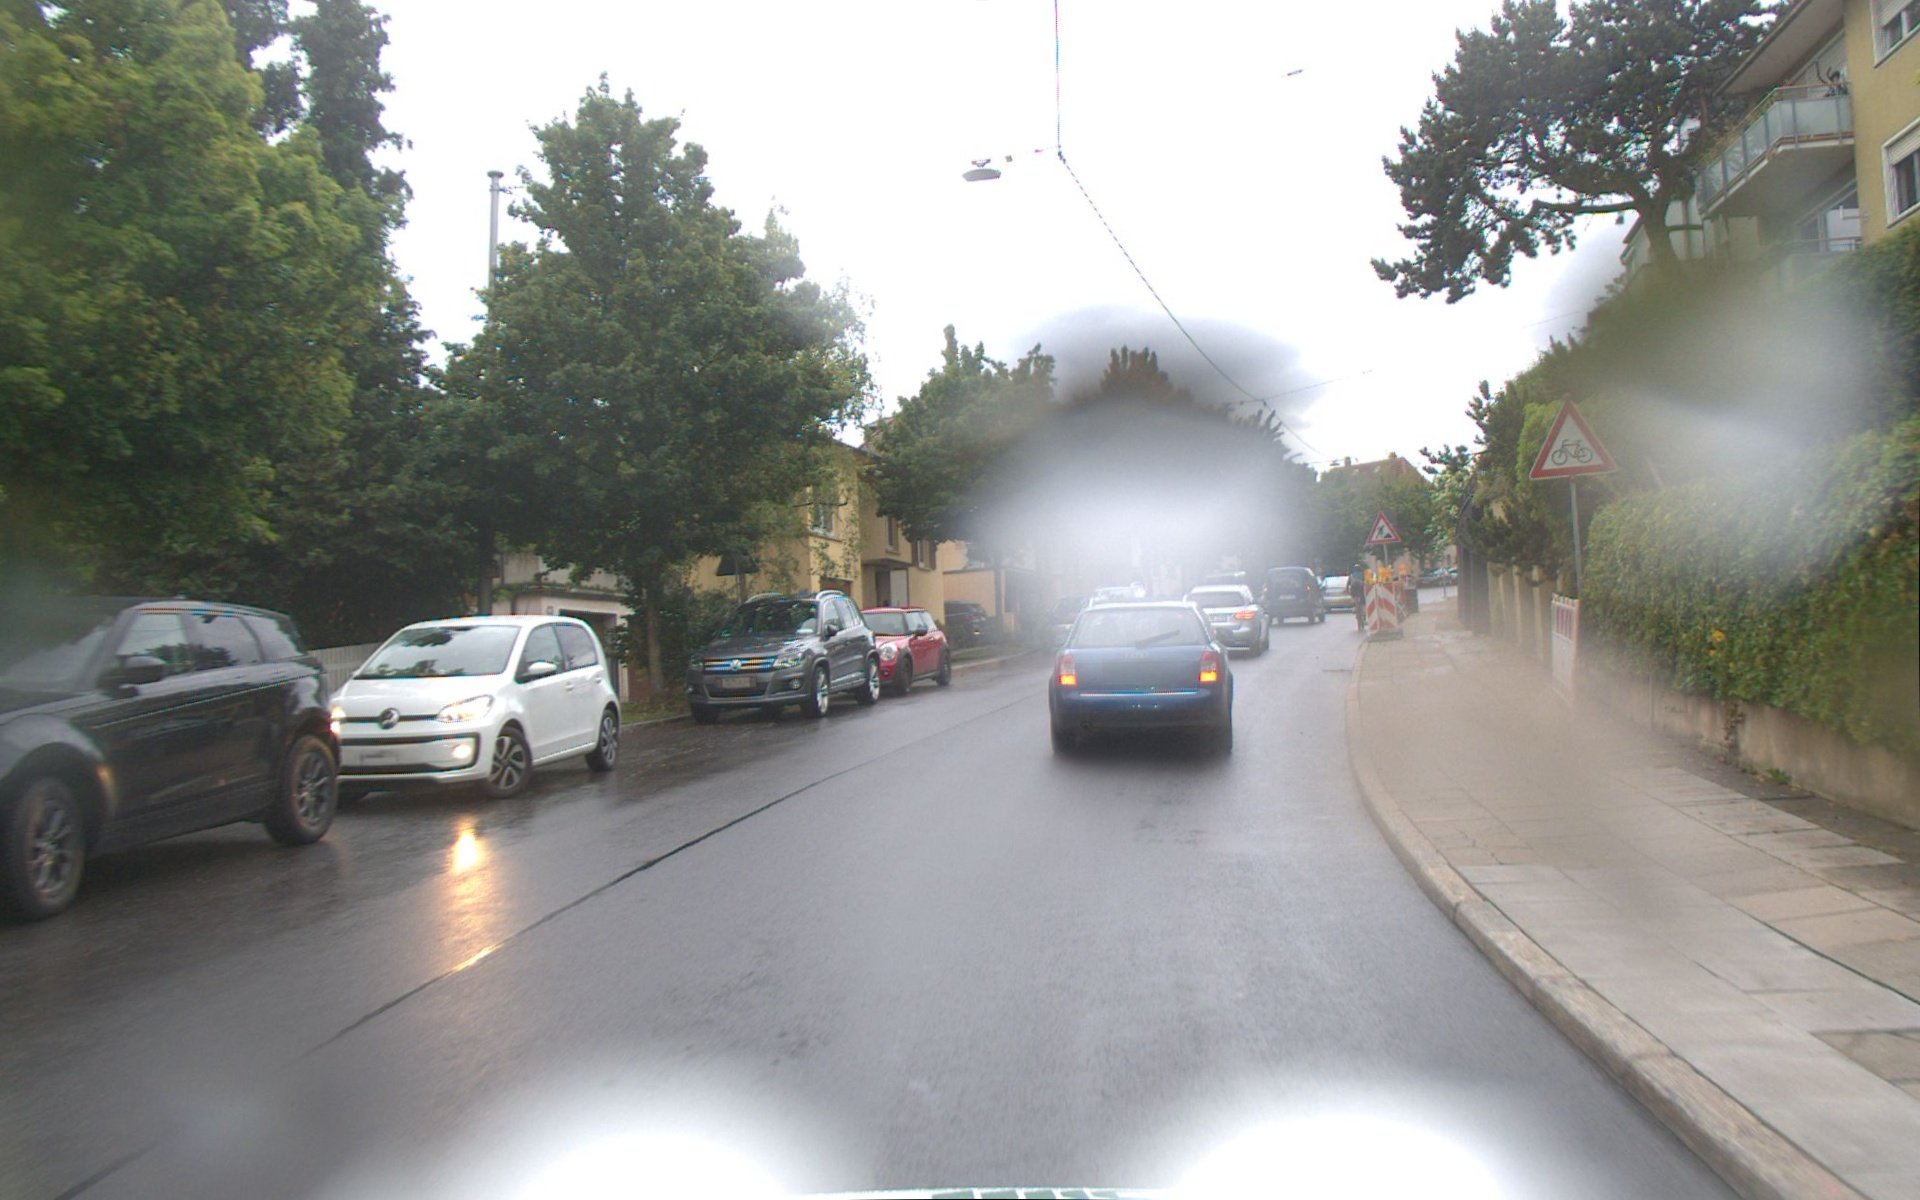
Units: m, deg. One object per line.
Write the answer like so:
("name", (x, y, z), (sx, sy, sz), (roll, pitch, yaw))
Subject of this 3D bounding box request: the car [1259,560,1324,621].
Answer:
("car", (11.014, -0.358, 54.764), (1.697, 1.799, 4.239), (-1, 2, 17))

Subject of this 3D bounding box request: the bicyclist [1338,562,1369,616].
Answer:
("bicyclist", (11.162, -0.322, 46.922), (0.710, 1.498, 0.886), (-3, 0, 19))

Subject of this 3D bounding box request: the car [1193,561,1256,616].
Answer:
("car", (11.581, -0.531, 72.181), (1.754, 2.084, 4.784), (-7, 0, 19))

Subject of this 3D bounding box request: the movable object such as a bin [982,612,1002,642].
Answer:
("movable object such as a bin", (1.148, 0.986, 59.668), (0.574, 1.041, 0.586), (-2, 0, 15))

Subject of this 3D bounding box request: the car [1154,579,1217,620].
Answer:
("car", (9.208, -0.046, 67.279), (1.731, 1.461, 4.350), (-5, 0, 18))

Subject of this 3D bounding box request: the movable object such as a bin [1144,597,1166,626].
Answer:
("movable object such as a bin", (7.652, 0.454, 64.975), (0.668, 1.028, 0.709), (-8, -1, 13))

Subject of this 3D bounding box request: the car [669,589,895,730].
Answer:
("car", (-2.363, 0.758, 23.255), (1.762, 1.698, 4.430), (-4, -1, 12))

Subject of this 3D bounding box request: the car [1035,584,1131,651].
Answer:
("car", (3.474, 0.444, 45.947), (1.731, 1.561, 4.609), (-5, 0, 15))

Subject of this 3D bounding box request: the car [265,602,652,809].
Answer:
("car", (-4.180, 0.809, 14.509), (1.696, 1.492, 4.003), (-1, 0, 8))

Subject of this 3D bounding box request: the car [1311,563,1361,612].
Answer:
("car", (15.398, -0.541, 67.604), (1.697, 1.799, 4.239), (-1, 2, 17))

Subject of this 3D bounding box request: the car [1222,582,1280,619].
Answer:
("car", (13.767, 0.008, 78.106), (1.732, 1.411, 4.635), (-5, 1, 21))

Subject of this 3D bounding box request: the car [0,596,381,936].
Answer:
("car", (-5.092, 0.795, 9.380), (1.696, 1.572, 4.213), (-1, 0, 7))

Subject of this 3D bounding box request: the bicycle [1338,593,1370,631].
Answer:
("bicycle", (11.181, 0.333, 46.896), (0.714, 0.981, 1.671), (-2, 0, 19))

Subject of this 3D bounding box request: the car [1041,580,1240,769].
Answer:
("car", (1.894, 0.636, 16.474), (1.696, 1.492, 4.005), (-1, 2, 9))

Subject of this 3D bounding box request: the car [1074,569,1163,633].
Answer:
("car", (4.952, 0.004, 51.288), (1.732, 1.662, 4.112), (-7, -1, 18))

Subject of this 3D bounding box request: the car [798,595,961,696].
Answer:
("car", (-1.284, 0.723, 28.112), (1.646, 1.497, 3.868), (-4, -1, 14))

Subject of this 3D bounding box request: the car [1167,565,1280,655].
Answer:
("car", (5.716, 0.165, 35.460), (1.933, 1.663, 4.239), (-1, 2, 15))

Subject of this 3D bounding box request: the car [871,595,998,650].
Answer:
("car", (-0.893, 0.778, 57.755), (3.968, 1.675, 1.864), (-3, -1, 18))
